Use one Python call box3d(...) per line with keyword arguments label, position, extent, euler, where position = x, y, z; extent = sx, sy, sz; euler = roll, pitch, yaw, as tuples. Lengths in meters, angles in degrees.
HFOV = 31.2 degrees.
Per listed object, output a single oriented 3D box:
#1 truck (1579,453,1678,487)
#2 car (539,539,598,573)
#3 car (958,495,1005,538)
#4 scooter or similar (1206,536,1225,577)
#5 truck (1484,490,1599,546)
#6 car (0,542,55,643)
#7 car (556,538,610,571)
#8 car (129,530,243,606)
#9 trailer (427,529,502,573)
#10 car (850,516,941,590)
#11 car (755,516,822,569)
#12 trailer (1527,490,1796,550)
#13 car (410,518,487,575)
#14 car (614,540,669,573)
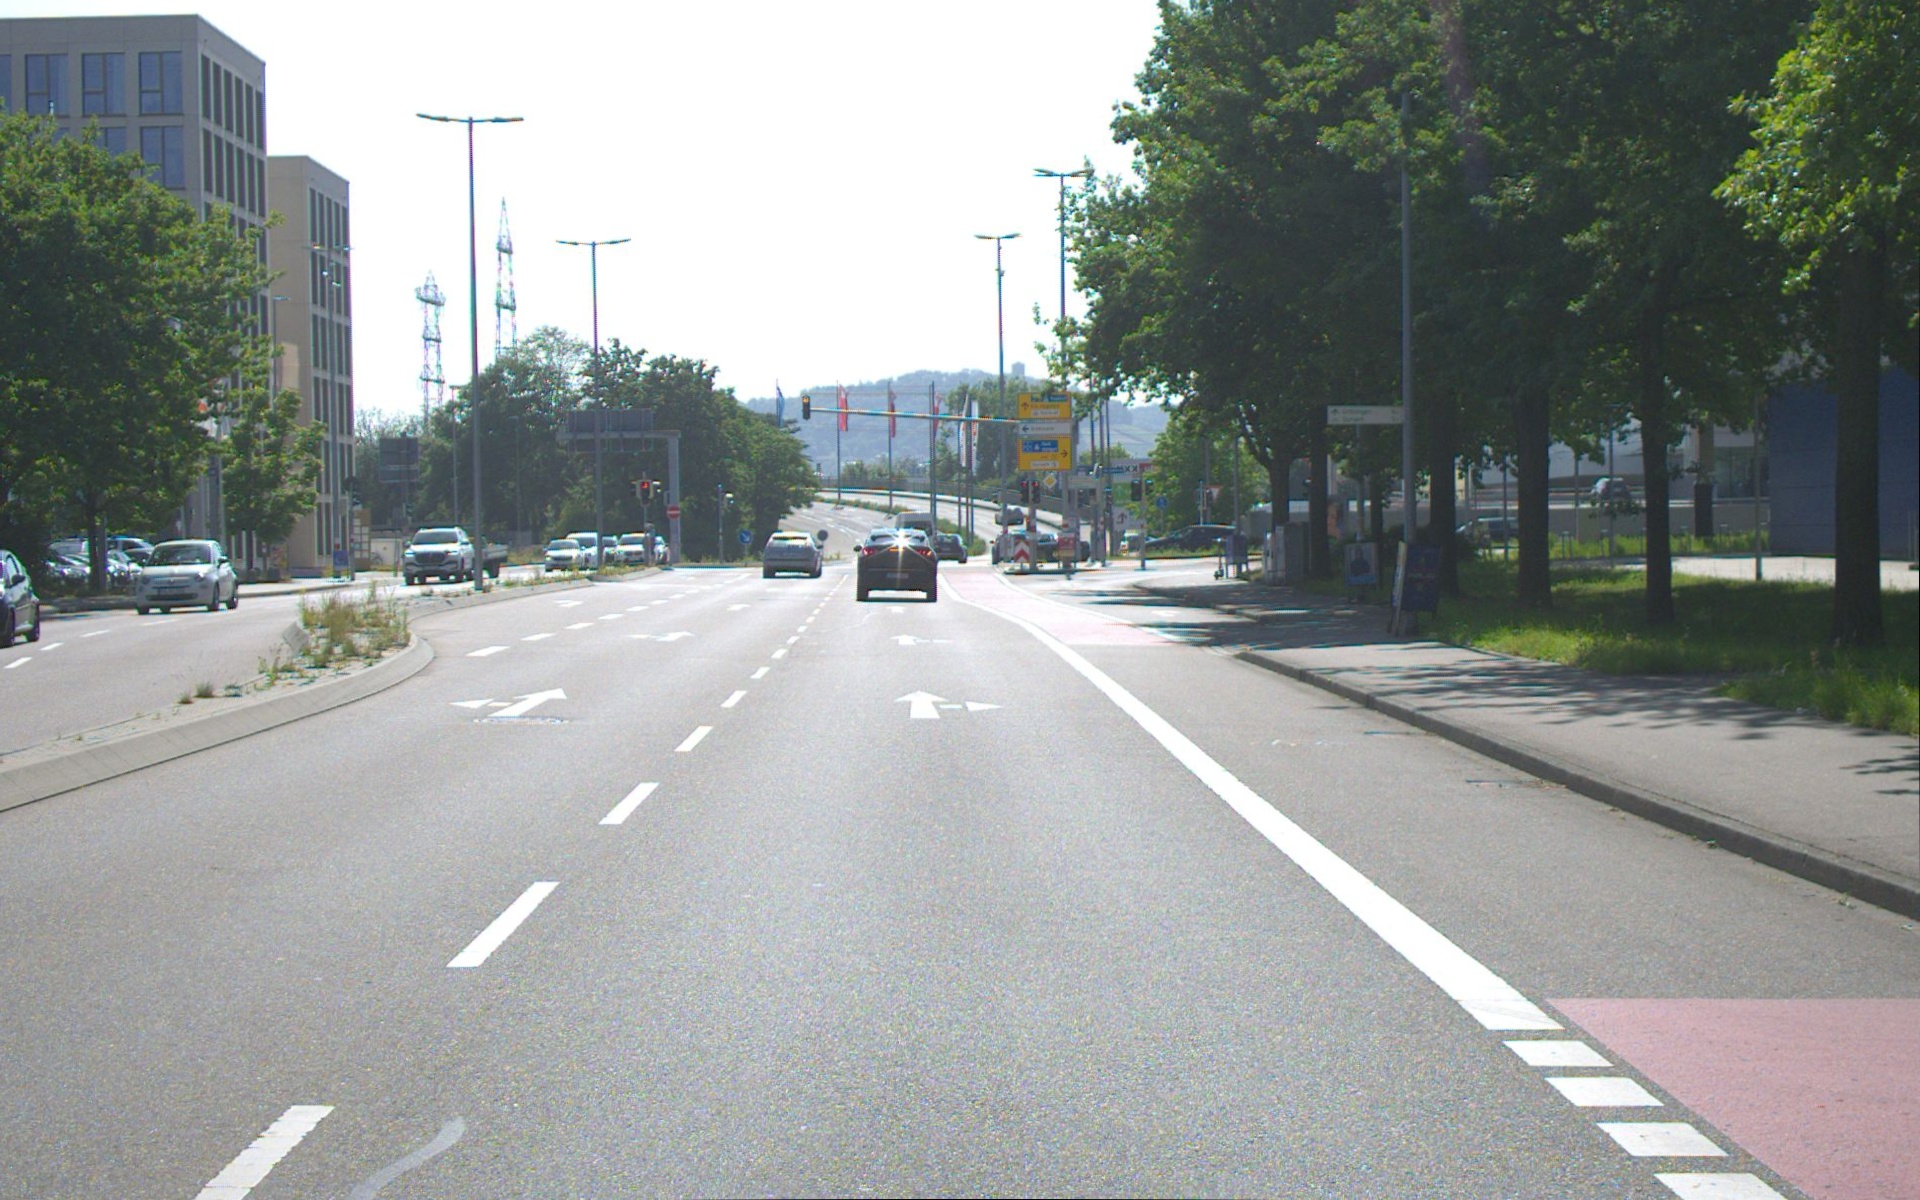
box3d(label="truck", position=(42.601, -8.281, 219.282), extent=(5.910, 2.006, 2.000), euler=(1, 2, 2))
box3d(label="car", position=(-17.590, -1.997, 154.614), extent=(1.892, 1.459, 4.000), euler=(-1, 1, 4))
box3d(label="car", position=(0.914, -3.632, 148.734), extent=(1.757, 1.752, 3.603), euler=(1, 2, -3))
box3d(label="scooter or similar", position=(7.730, -1.314, 103.814), extent=(0.351, 1.229, 1.310), euler=(-1, 1, 13))
box3d(label="truck", position=(26.687, -3.784, 157.867), extent=(4.880, 2.415, 2.000), euler=(1, 2, -1))
box3d(label="car", position=(-14.521, -0.093, 50.412), extent=(1.782, 1.410, 4.001), euler=(-3, 1, -6))
box3d(label="car", position=(-17.770, -2.152, 162.100), extent=(1.816, 1.459, 4.000), euler=(-1, 1, 4))
box3d(label="car", position=(-15.983, -0.689, 71.145), extent=(1.653, 1.459, 3.551), euler=(-2, 1, -3))
box3d(label="trailer", position=(-17.307, -1.724, 120.339), extent=(1.993, 1.448, 5.773), euler=(-1, 1, -2))
box3d(label="car", position=(-1.473, -1.119, 80.349), extent=(1.807, 1.634, 4.459), euler=(-1, 1, 3))
box3d(label="car", position=(-5.663, -1.907, 113.930), extent=(1.993, 1.678, 4.000), euler=(-1, 1, 0))
box3d(label="trailer", position=(32.205, -3.686, 157.958), extent=(11.870, 2.460, 2.000), euler=(1, 2, -1))
box3d(label="car", position=(-17.090, -1.813, 115.011), extent=(1.993, 1.826, 4.938), euler=(-1, 1, -2))
box3d(label="car", position=(-14.425, -1.980, 155.796), extent=(1.816, 1.459, 4.000), euler=(-1, 1, 4))
